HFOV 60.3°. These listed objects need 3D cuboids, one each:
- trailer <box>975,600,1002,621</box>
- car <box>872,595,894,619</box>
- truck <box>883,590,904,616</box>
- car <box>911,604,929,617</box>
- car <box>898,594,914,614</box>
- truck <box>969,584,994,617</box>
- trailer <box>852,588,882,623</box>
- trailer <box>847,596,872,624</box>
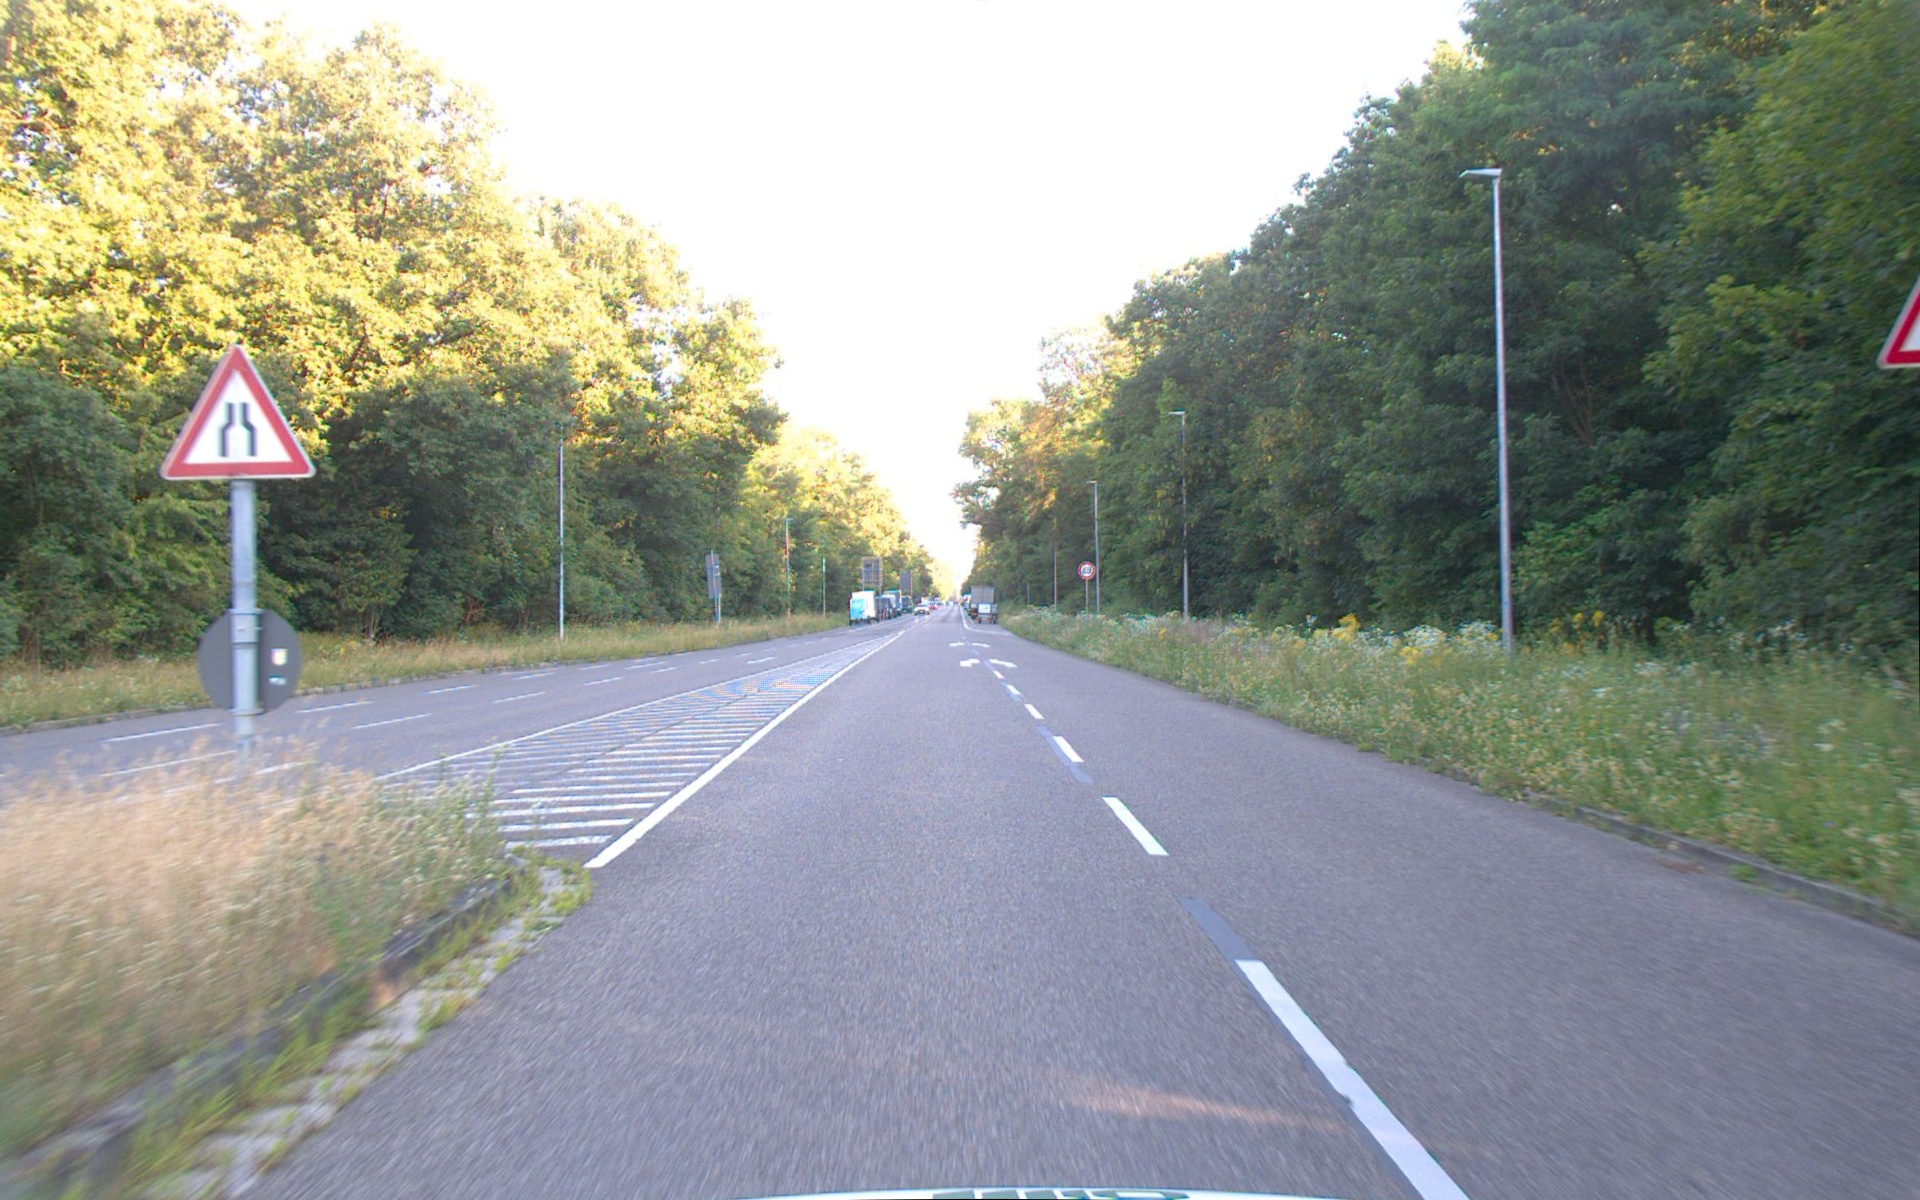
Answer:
[{"bbox_3d":[2.331,0.859,135.715,1.425,1.691,3.780,-2,0,13],"label":"trailer"},{"bbox_3d":[-8.252,0.784,176.864,1.953,2.405,5.765,-3,0,0],"label":"car"},{"bbox_3d":[-8.786,0.380,220.080,2.453,3.387,6.841,-2,0,0],"label":"truck"},{"bbox_3d":[-5.270,1.377,216.137,2.021,1.460,4.466,-3,-1,2],"label":"car"},{"bbox_3d":[-8.334,0.606,254.726,2.142,2.837,5.333,-2,0,0],"label":"car"},{"bbox_3d":[2.214,0.092,168.293,2.535,3.312,7.221,0,0,1],"label":"truck"},{"bbox_3d":[-8.507,0.501,151.648,2.279,2.975,5.626,-3,0,-1],"label":"trailer"},{"bbox_3d":[-8.251,0.818,136.037,1.780,2.205,4.142,-2,0,-1],"label":"trailer"}]
